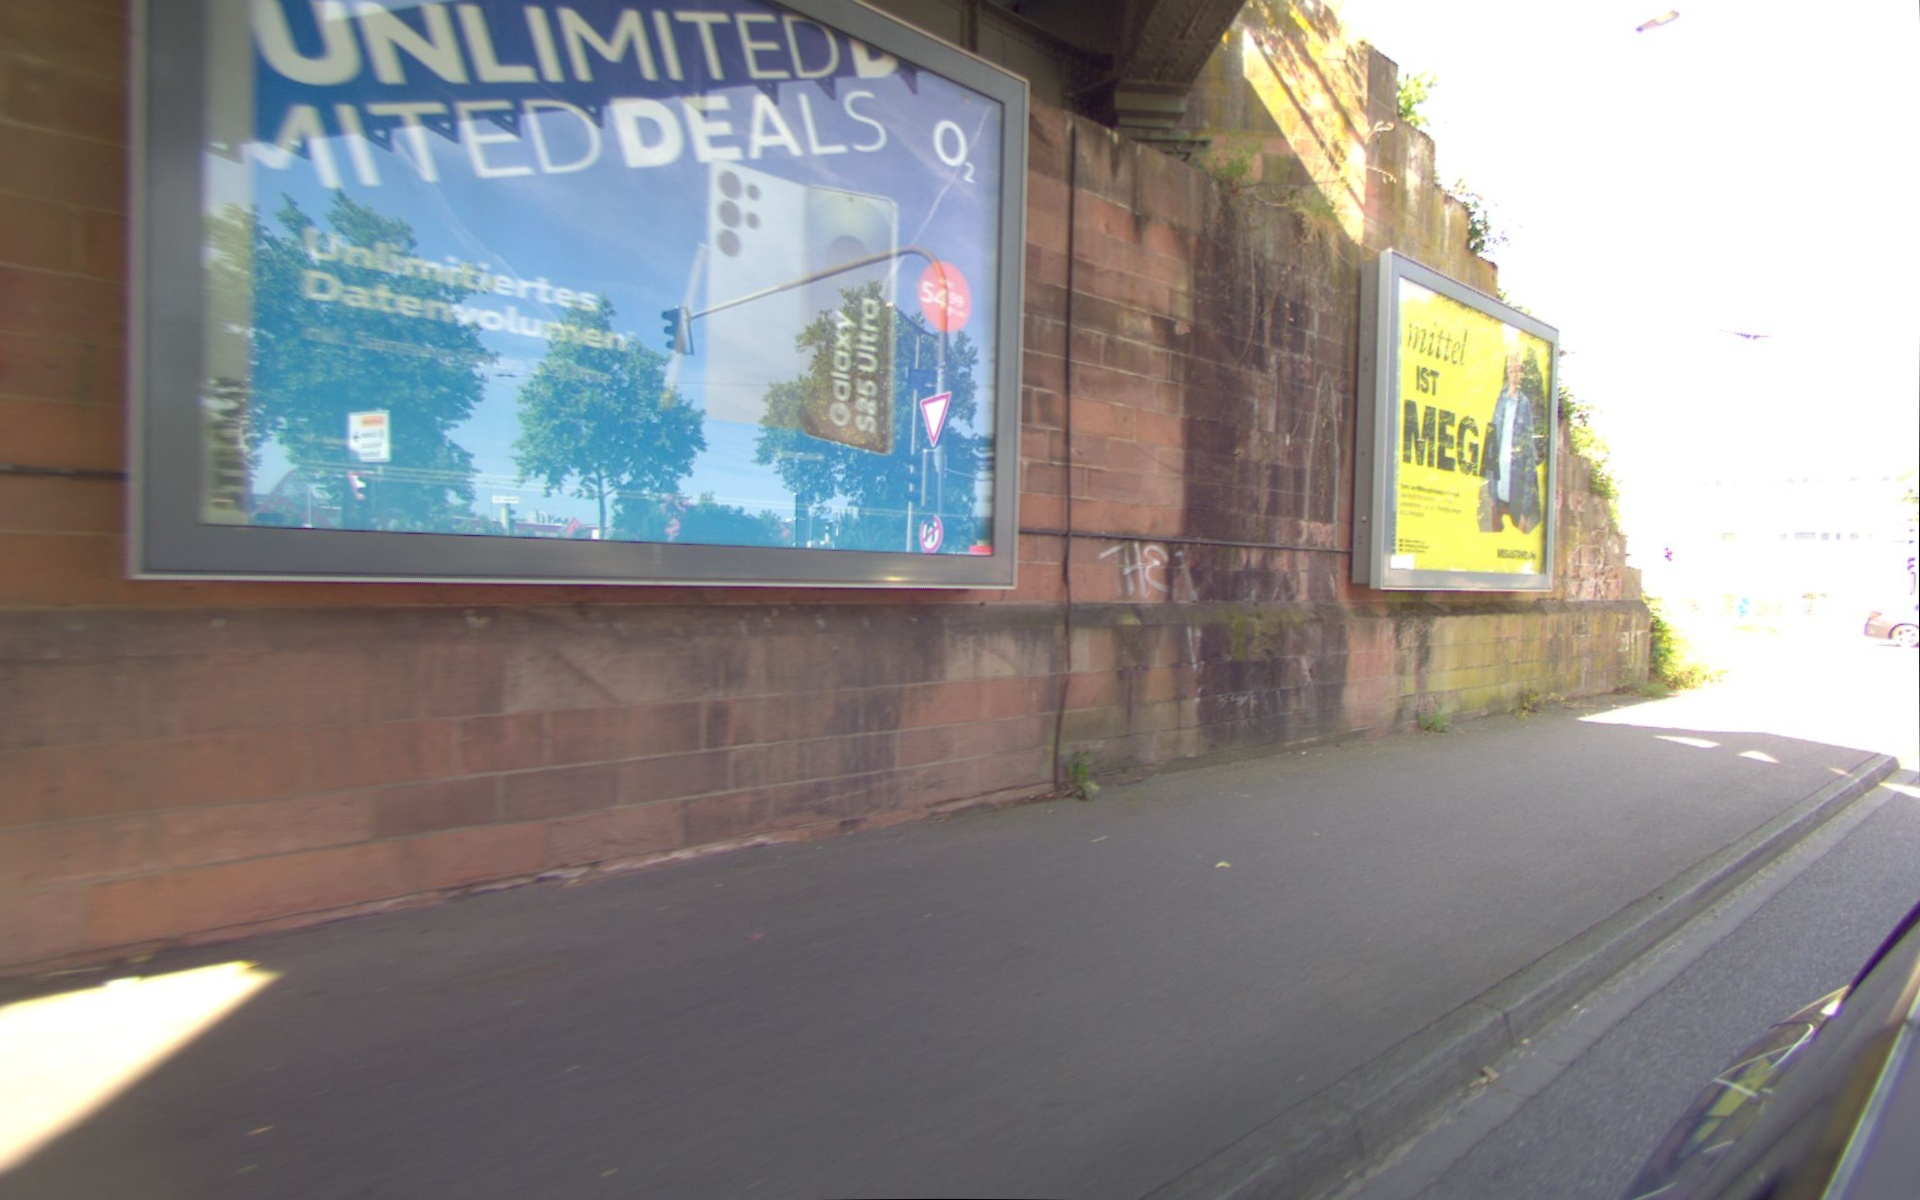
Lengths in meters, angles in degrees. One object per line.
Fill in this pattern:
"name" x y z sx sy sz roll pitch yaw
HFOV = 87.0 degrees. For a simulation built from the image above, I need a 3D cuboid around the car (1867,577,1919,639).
"car" 27.427 0.285 26.830 1.790 1.662 4.679 0 3 -33
